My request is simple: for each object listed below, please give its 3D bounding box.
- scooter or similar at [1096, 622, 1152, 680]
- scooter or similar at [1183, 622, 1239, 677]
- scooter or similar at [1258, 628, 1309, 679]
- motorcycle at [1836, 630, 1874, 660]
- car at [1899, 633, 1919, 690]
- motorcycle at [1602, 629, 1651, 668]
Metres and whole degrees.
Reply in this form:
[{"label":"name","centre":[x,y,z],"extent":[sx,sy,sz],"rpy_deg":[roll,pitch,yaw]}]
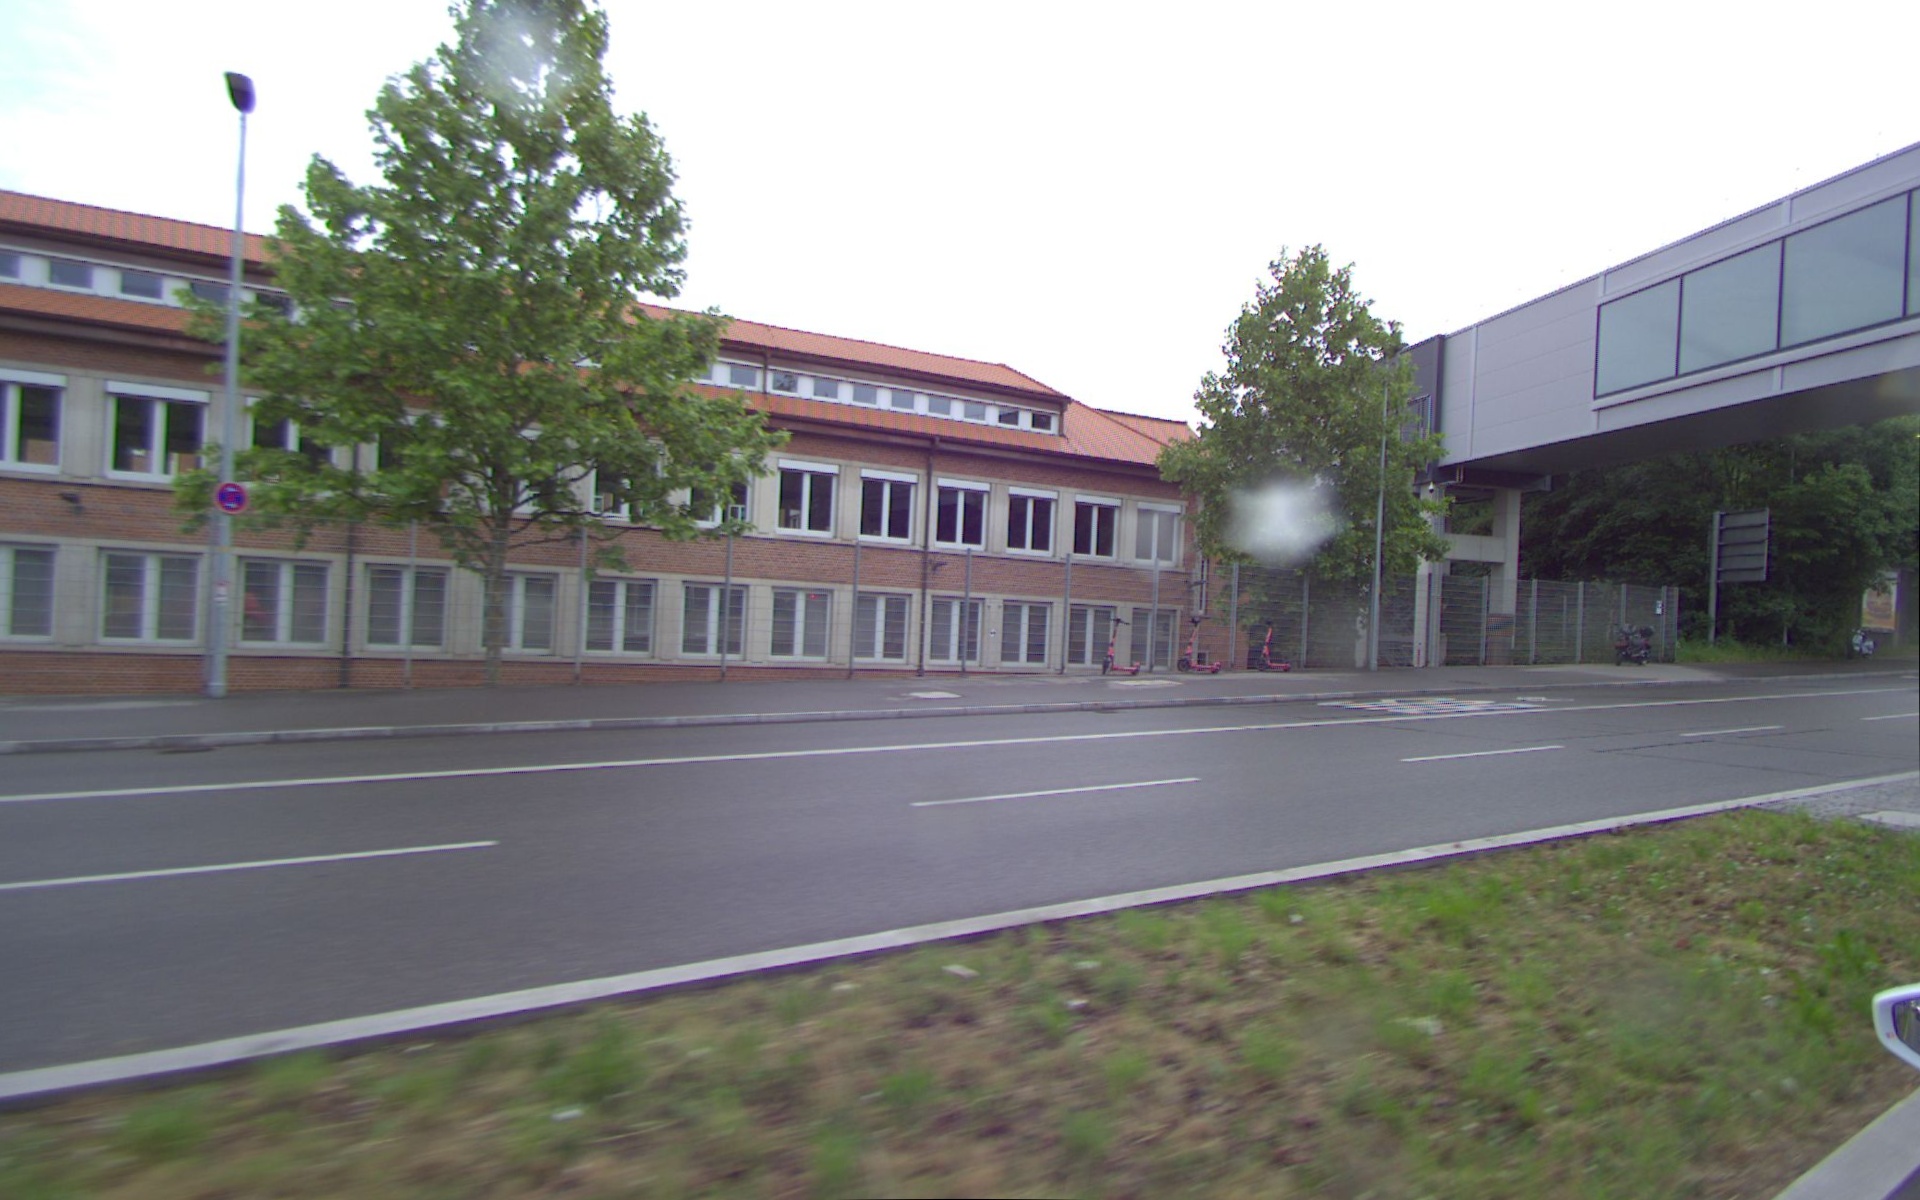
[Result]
[{"label":"scooter or similar","centre":[3.600,1.110,22.010],"extent":[1.292,1.234,0.310],"rpy_deg":[1,-1,-29]},{"label":"scooter or similar","centre":[5.780,1.138,23.139],"extent":[1.287,1.234,0.311],"rpy_deg":[1,0,-17]},{"label":"scooter or similar","centre":[7.847,1.290,24.373],"extent":[1.289,1.234,0.310],"rpy_deg":[1,0,-24]},{"label":"motorcycle","centre":[35.760,1.773,40.133],"extent":[1.906,1.174,0.467],"rpy_deg":[1,0,-26]},{"label":"car","centre":[25.981,1.551,25.394],"extent":[4.701,1.380,2.054],"rpy_deg":[1,-1,-31]},{"label":"motorcycle","centre":[21.286,1.533,32.054],"extent":[1.972,1.221,0.466],"rpy_deg":[1,0,-30]}]
